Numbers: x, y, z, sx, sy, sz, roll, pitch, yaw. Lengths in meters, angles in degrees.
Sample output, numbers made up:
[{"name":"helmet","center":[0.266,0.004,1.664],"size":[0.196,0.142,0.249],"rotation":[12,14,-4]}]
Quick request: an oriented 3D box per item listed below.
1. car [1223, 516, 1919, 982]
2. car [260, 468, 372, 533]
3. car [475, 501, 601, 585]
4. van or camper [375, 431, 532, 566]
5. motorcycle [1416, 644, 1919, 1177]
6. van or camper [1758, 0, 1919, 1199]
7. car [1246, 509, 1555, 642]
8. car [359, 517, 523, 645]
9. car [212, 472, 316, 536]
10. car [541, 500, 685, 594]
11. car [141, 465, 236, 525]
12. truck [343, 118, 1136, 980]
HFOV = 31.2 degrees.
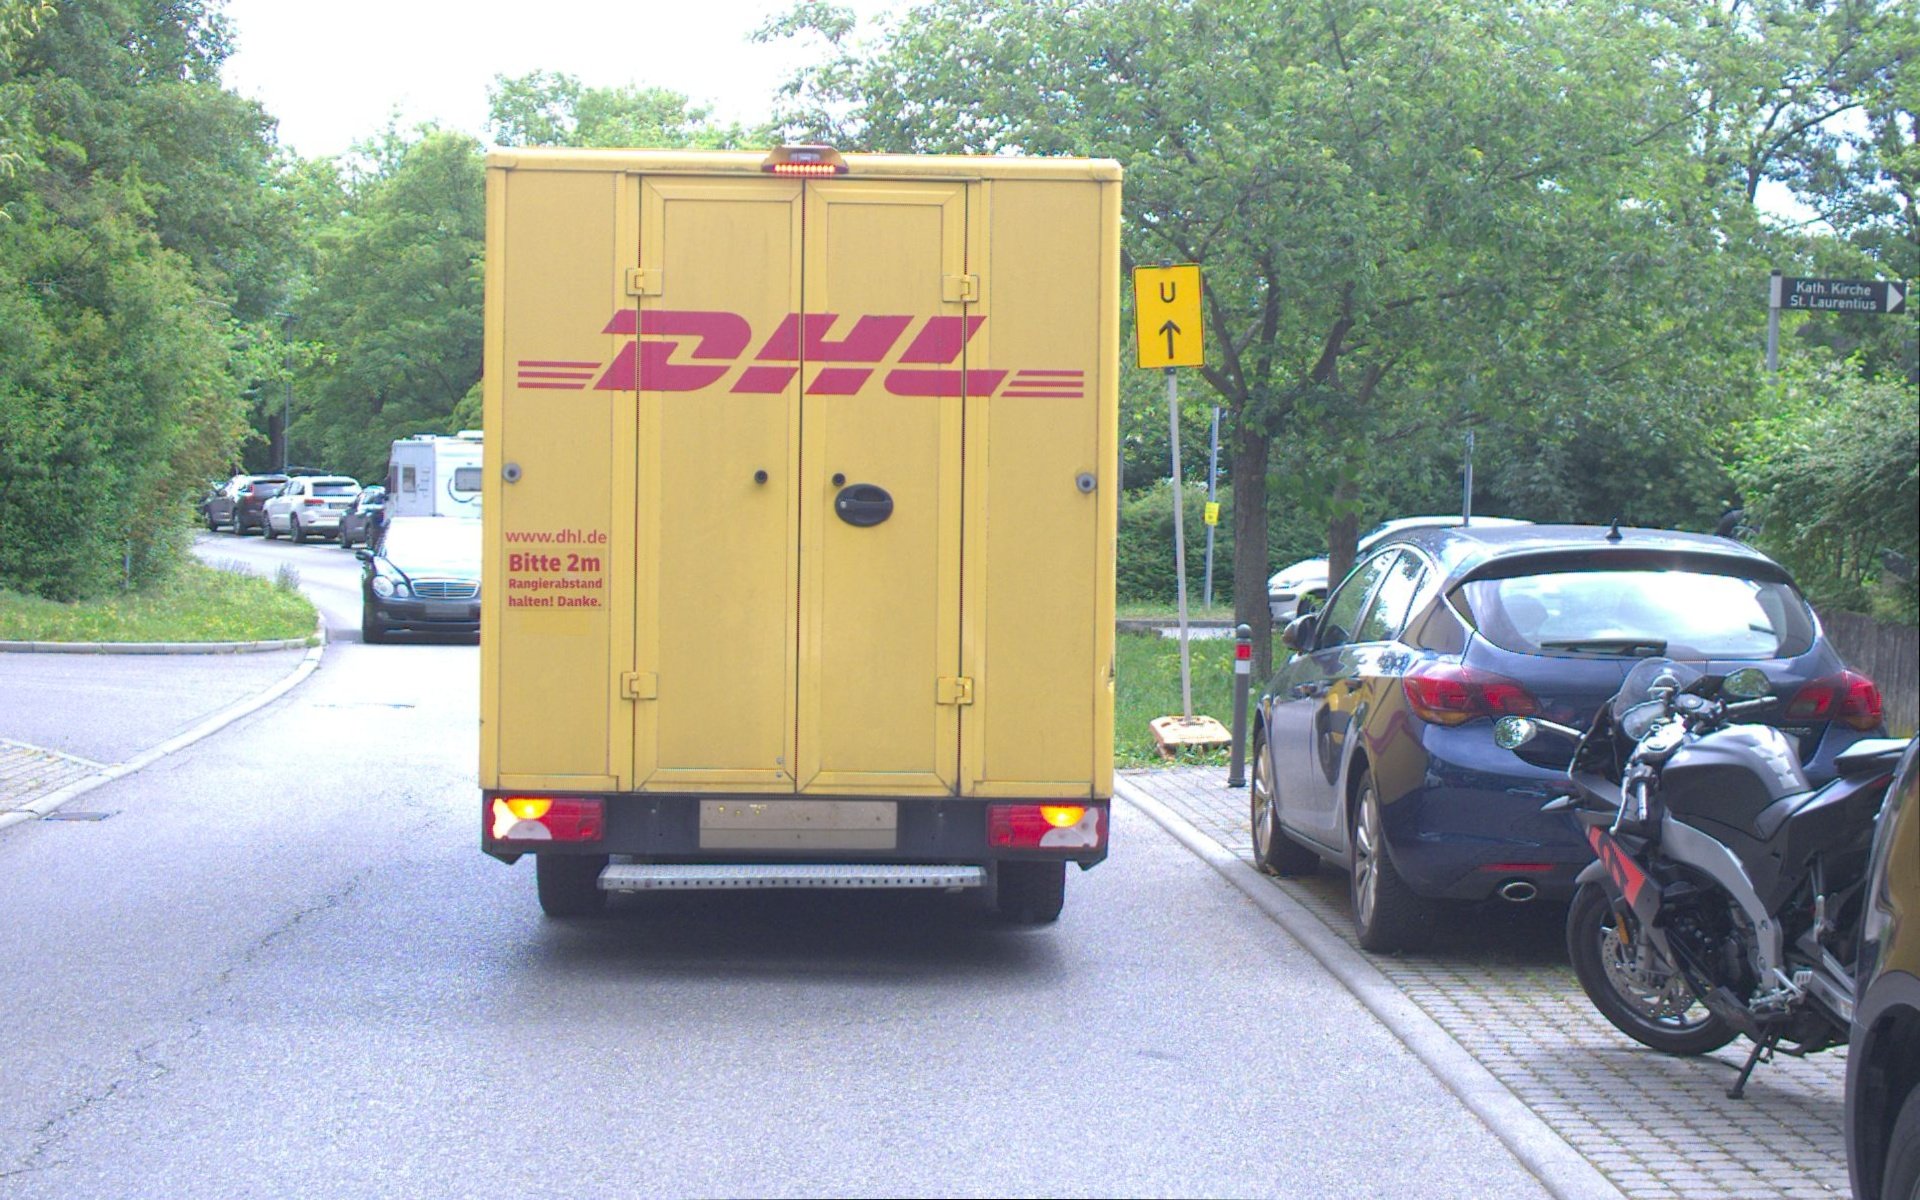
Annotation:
[{"name":"car","center":[2.129,0.455,12.975],"size":[1.728,1.428,3.969],"rotation":[2,1,-3]},{"name":"car","center":[-16.987,-2.628,90.551],"size":[1.843,1.524,4.001],"rotation":[1,3,-26]},{"name":"car","center":[-8.827,-1.207,71.628],"size":[1.843,1.524,4.002],"rotation":[1,3,-18]},{"name":"van or camper","center":[-11.589,-2.358,78.388],"size":[2.323,2.862,5.262],"rotation":[2,2,-21]},{"name":"motorcycle","center":[2.001,0.729,8.895],"size":[0.898,1.107,2.086],"rotation":[2,2,-14]},{"name":"van or camper","center":[2.304,0.119,2.725],"size":[1.993,2.514,5.471],"rotation":[0,1,-1]},{"name":"car","center":[5.567,-0.332,43.735],"size":[3.630,1.481,1.691],"rotation":[2,3,-1]},{"name":"car","center":[-6.065,-0.255,40.493],"size":[1.674,1.350,3.970],"rotation":[2,1,-6]},{"name":"car","center":[-19.491,-2.709,96.196],"size":[1.843,1.608,4.001],"rotation":[1,3,-26]},{"name":"car","center":[-6.519,-1.012,64.238],"size":[1.843,1.524,4.002],"rotation":[1,3,-18]},{"name":"car","center":[-22.870,-3.124,101.811],"size":[1.843,1.608,4.001],"rotation":[1,3,-26]},{"name":"truck","center":[-0.882,-0.242,14.389],"size":[2.466,2.693,6.825],"rotation":[1,1,-3]}]
